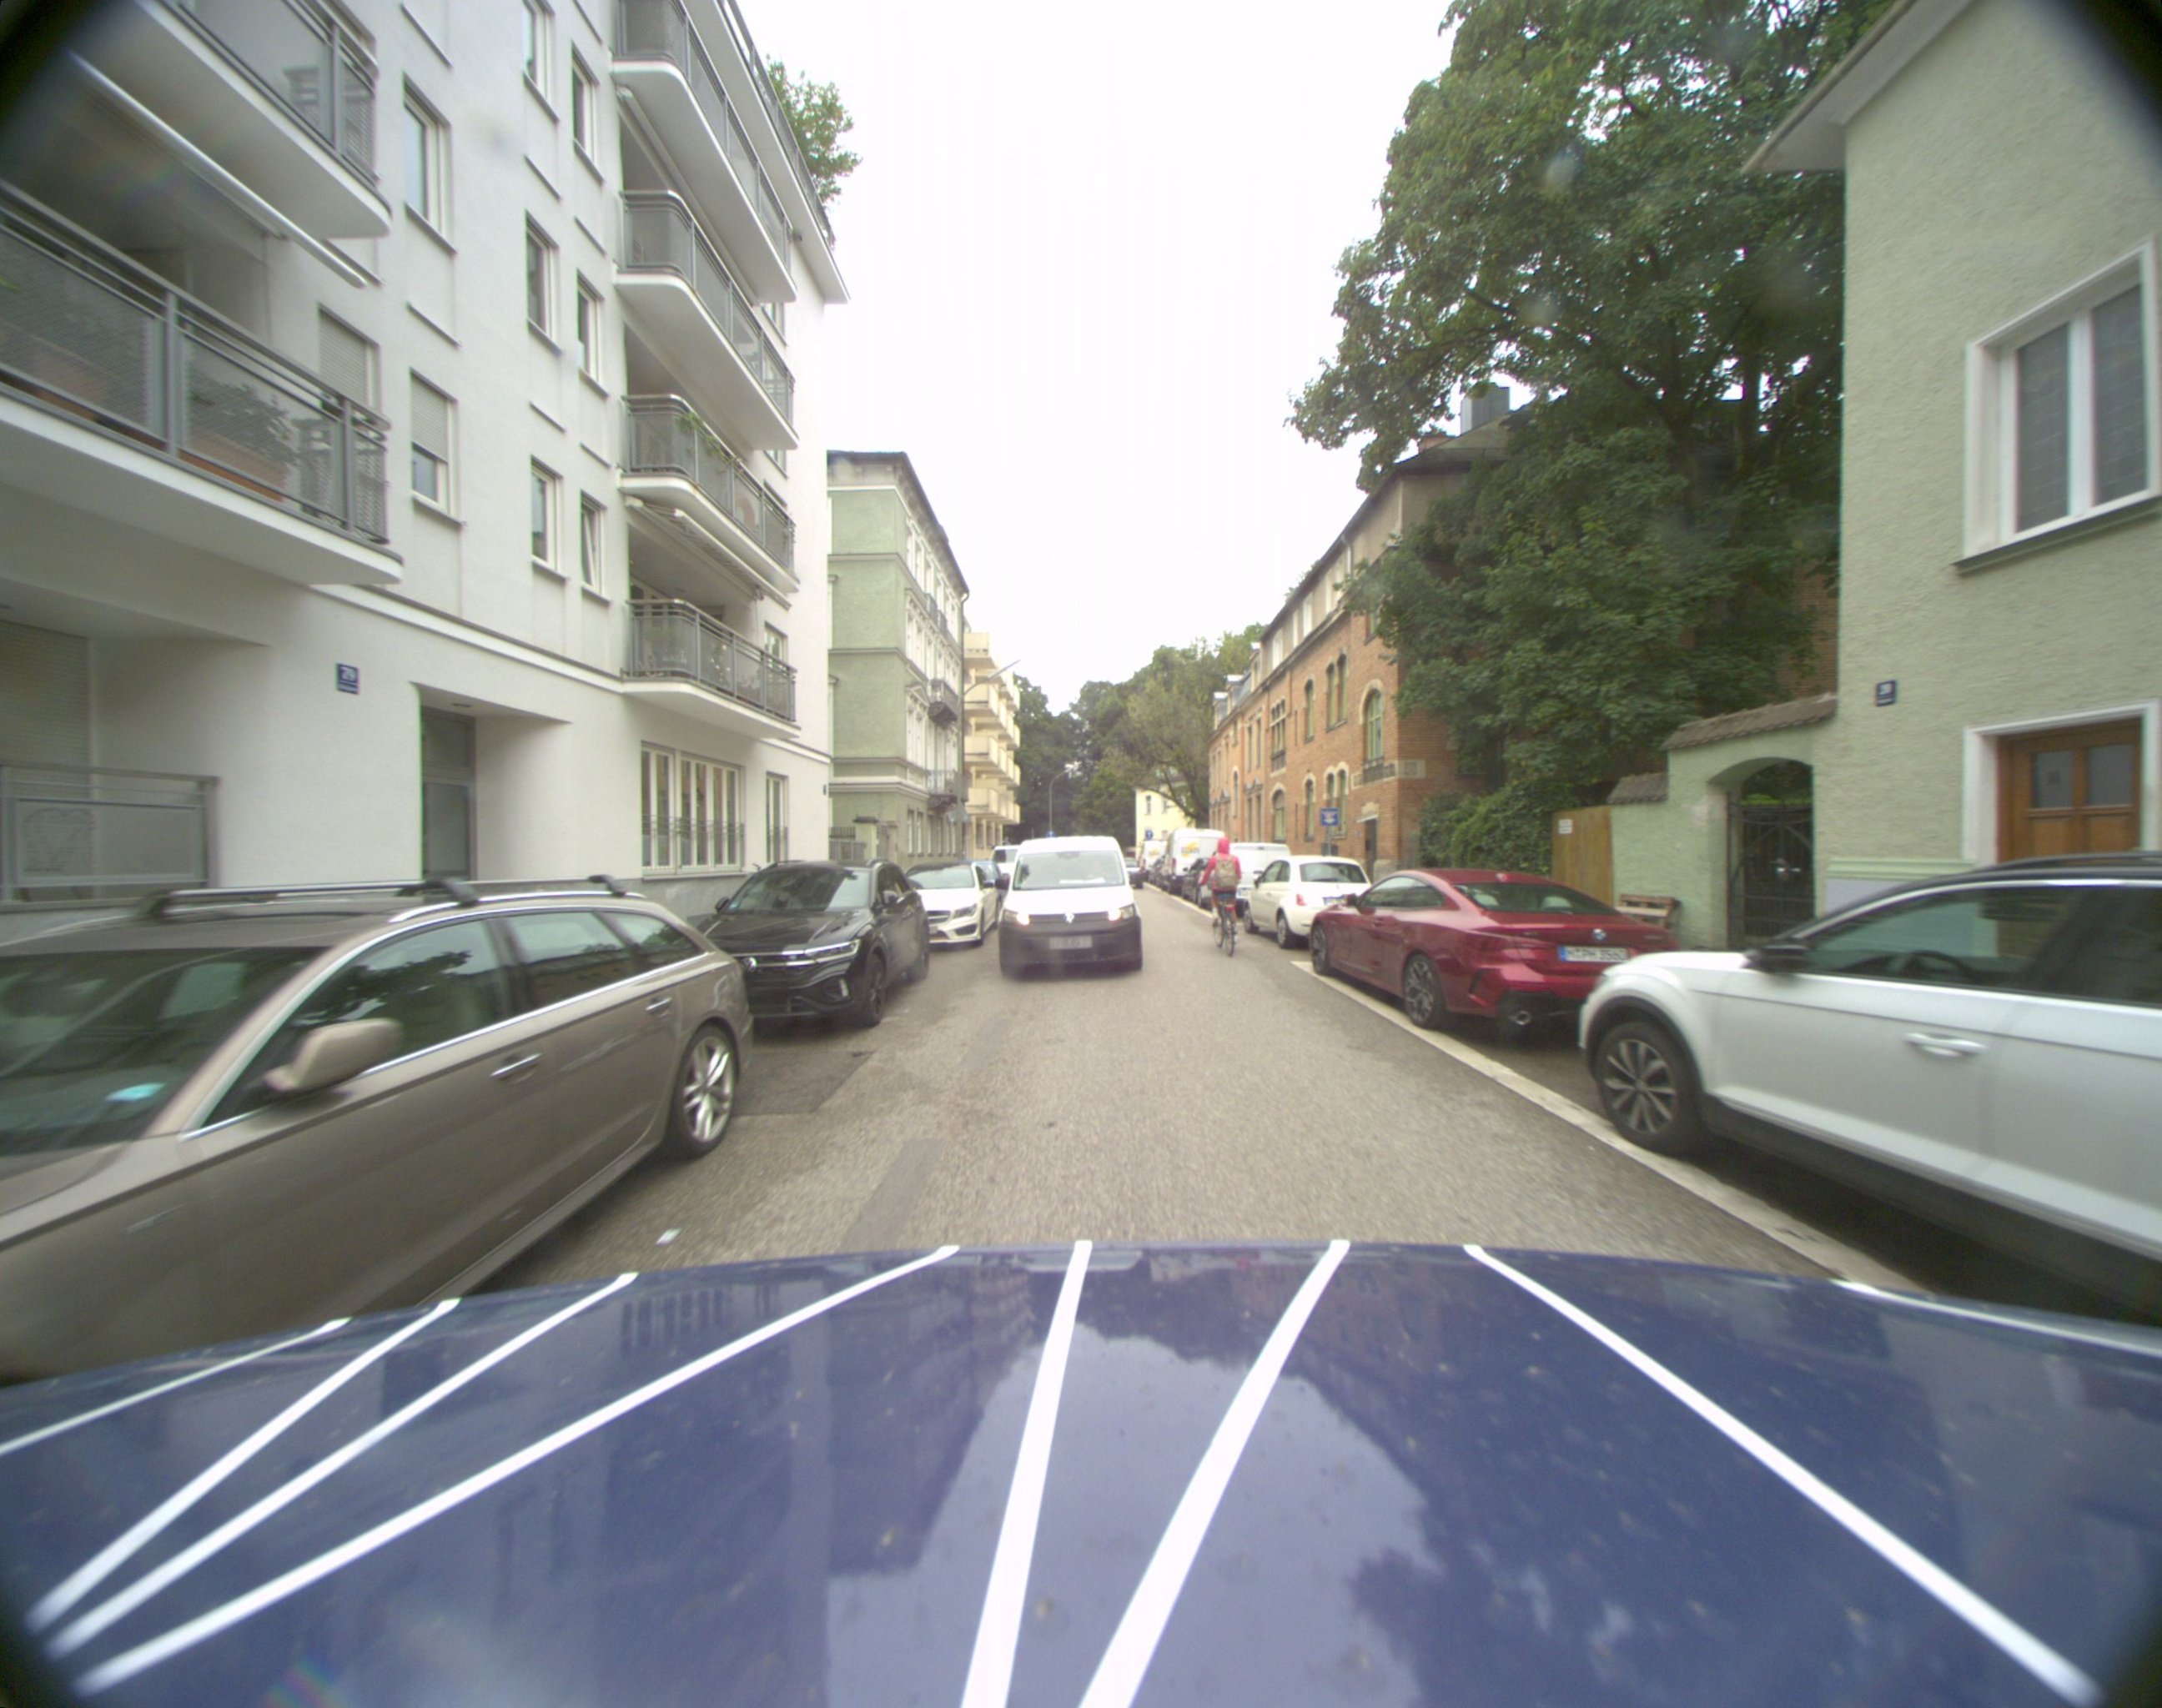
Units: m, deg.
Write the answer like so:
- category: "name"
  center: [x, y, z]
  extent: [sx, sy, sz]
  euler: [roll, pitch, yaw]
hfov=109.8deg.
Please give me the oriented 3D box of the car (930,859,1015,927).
- category: "car"
  center: [-2.626, 0.901, 19.052]
  extent: [1.623, 1.404, 3.553]
  euler: [-3, 1, -1]

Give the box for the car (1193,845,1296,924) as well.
- category: "car"
  center: [4.077, 0.713, 19.599]
  extent: [1.694, 1.793, 4.145]
  euler: [1, 0, 0]

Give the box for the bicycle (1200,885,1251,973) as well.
- category: "bicycle"
  center: [2.114, 1.064, 11.268]
  extent: [0.505, 1.121, 1.773]
  euler: [1, 0, 3]

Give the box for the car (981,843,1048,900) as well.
- category: "car"
  center: [-2.425, 0.618, 28.816]
  extent: [1.858, 1.885, 4.592]
  euler: [-3, 0, 2]

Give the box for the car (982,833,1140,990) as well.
- category: "car"
  center: [-0.158, 0.661, 10.740]
  extent: [1.776, 1.761, 4.000]
  euler: [-1, 0, 2]

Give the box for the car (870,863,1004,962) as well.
- category: "car"
  center: [-2.488, 0.952, 14.129]
  extent: [1.662, 1.431, 4.206]
  euler: [-3, 0, -1]

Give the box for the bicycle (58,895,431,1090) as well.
- category: "bicycle"
  center: [-6.374, 0.961, 6.029]
  extent: [0.629, 1.153, 2.127]
  euler: [0, 0, -1]

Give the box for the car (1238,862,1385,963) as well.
- category: "car"
  center: [3.831, 0.904, 13.151]
  extent: [1.477, 1.458, 3.313]
  euler: [1, 0, -1]

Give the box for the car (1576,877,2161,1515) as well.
- category: "car"
  center: [3.680, 0.947, 2.345]
  extent: [1.691, 1.593, 3.921]
  euler: [1, 0, 0]

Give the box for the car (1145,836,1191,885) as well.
- category: "car"
  center: [4.884, 0.368, 43.299]
  extent: [2.118, 2.525, 4.422]
  euler: [2, 0, 2]

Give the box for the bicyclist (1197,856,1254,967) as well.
- category: "bicyclist"
  center: [2.108, 0.804, 11.182]
  extent: [0.695, 1.552, 0.967]
  euler: [1, 0, 3]

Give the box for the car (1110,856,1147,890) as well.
- category: "car"
  center: [2.138, 0.838, 35.199]
  extent: [1.585, 1.403, 3.612]
  euler: [0, 1, 2]

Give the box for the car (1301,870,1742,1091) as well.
- category: "car"
  center: [3.823, 0.970, 7.678]
  extent: [1.865, 1.404, 4.332]
  euler: [1, 1, -1]

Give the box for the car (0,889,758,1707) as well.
- category: "car"
  center: [-2.867, 1.026, 2.324]
  extent: [1.738, 1.521, 4.621]
  euler: [-3, 0, -1]

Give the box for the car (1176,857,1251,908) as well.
- category: "car"
  center: [4.165, 0.852, 24.455]
  extent: [1.694, 1.434, 4.145]
  euler: [1, 0, 1]

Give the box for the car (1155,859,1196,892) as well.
- category: "car"
  center: [4.415, 0.961, 35.954]
  extent: [1.526, 1.434, 3.541]
  euler: [1, 0, 1]

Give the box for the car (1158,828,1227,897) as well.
- category: "car"
  center: [4.291, 0.301, 30.079]
  extent: [1.986, 2.463, 5.223]
  euler: [1, 0, 1]

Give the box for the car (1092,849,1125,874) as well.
- category: "car"
  center: [2.093, 0.547, 58.514]
  extent: [1.777, 1.793, 4.569]
  euler: [-2, 0, -7]

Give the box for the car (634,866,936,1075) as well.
- category: "car"
  center: [-2.749, 0.961, 8.077]
  extent: [1.608, 1.521, 3.983]
  euler: [-3, 0, -1]

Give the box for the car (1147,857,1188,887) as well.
- category: "car"
  center: [4.537, 0.919, 40.277]
  extent: [1.694, 1.434, 3.984]
  euler: [1, 0, 1]
